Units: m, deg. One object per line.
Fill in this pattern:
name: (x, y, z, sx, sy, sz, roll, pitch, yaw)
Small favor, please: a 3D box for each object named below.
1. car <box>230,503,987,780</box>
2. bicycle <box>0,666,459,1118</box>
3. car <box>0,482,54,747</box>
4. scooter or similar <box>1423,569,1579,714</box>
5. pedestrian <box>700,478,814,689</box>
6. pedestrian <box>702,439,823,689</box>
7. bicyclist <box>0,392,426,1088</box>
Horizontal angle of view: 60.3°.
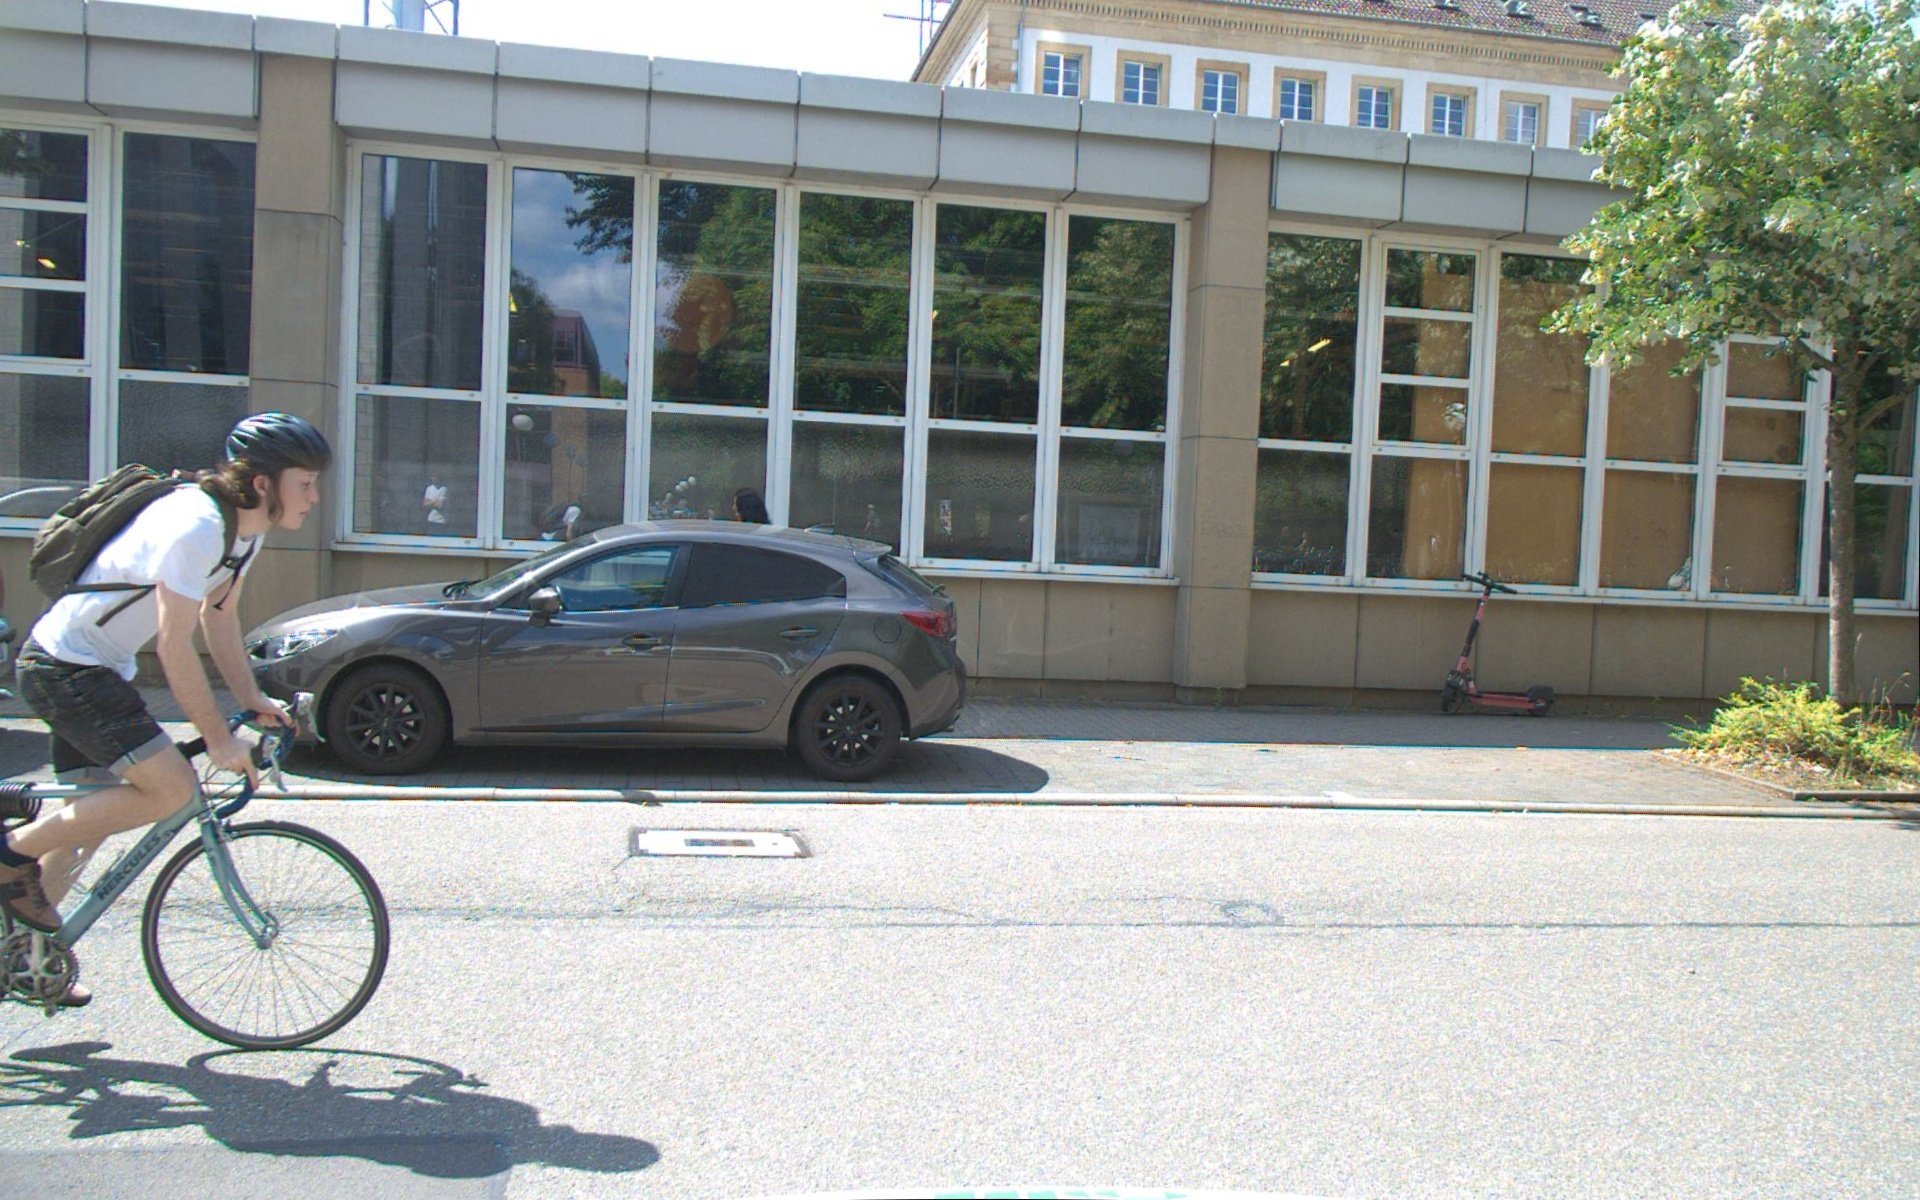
car: (-2.080, 0.220, 10.278, 4.199, 1.459, 1.727, 1, 5, -12)
bicycle: (-2.374, 0.734, 4.388, 1.867, 1.010, 0.708, 2, 4, -6)
car: (-7.263, 0.042, 9.069, 3.674, 1.473, 1.632, 2, 5, -12)
scooter or similar: (4.766, 0.365, 14.589, 1.220, 1.227, 0.383, 1, 4, -12)
pedestrian: (-1.581, -0.135, 12.792, 0.781, 1.568, 0.662, 2, 2, -12)
pedestrian: (-1.458, -0.265, 12.128, 0.781, 1.758, 0.600, 2, 2, -12)
bicyclist: (-2.070, 0.327, 4.386, 1.070, 1.690, 0.719, 2, 4, -6)
